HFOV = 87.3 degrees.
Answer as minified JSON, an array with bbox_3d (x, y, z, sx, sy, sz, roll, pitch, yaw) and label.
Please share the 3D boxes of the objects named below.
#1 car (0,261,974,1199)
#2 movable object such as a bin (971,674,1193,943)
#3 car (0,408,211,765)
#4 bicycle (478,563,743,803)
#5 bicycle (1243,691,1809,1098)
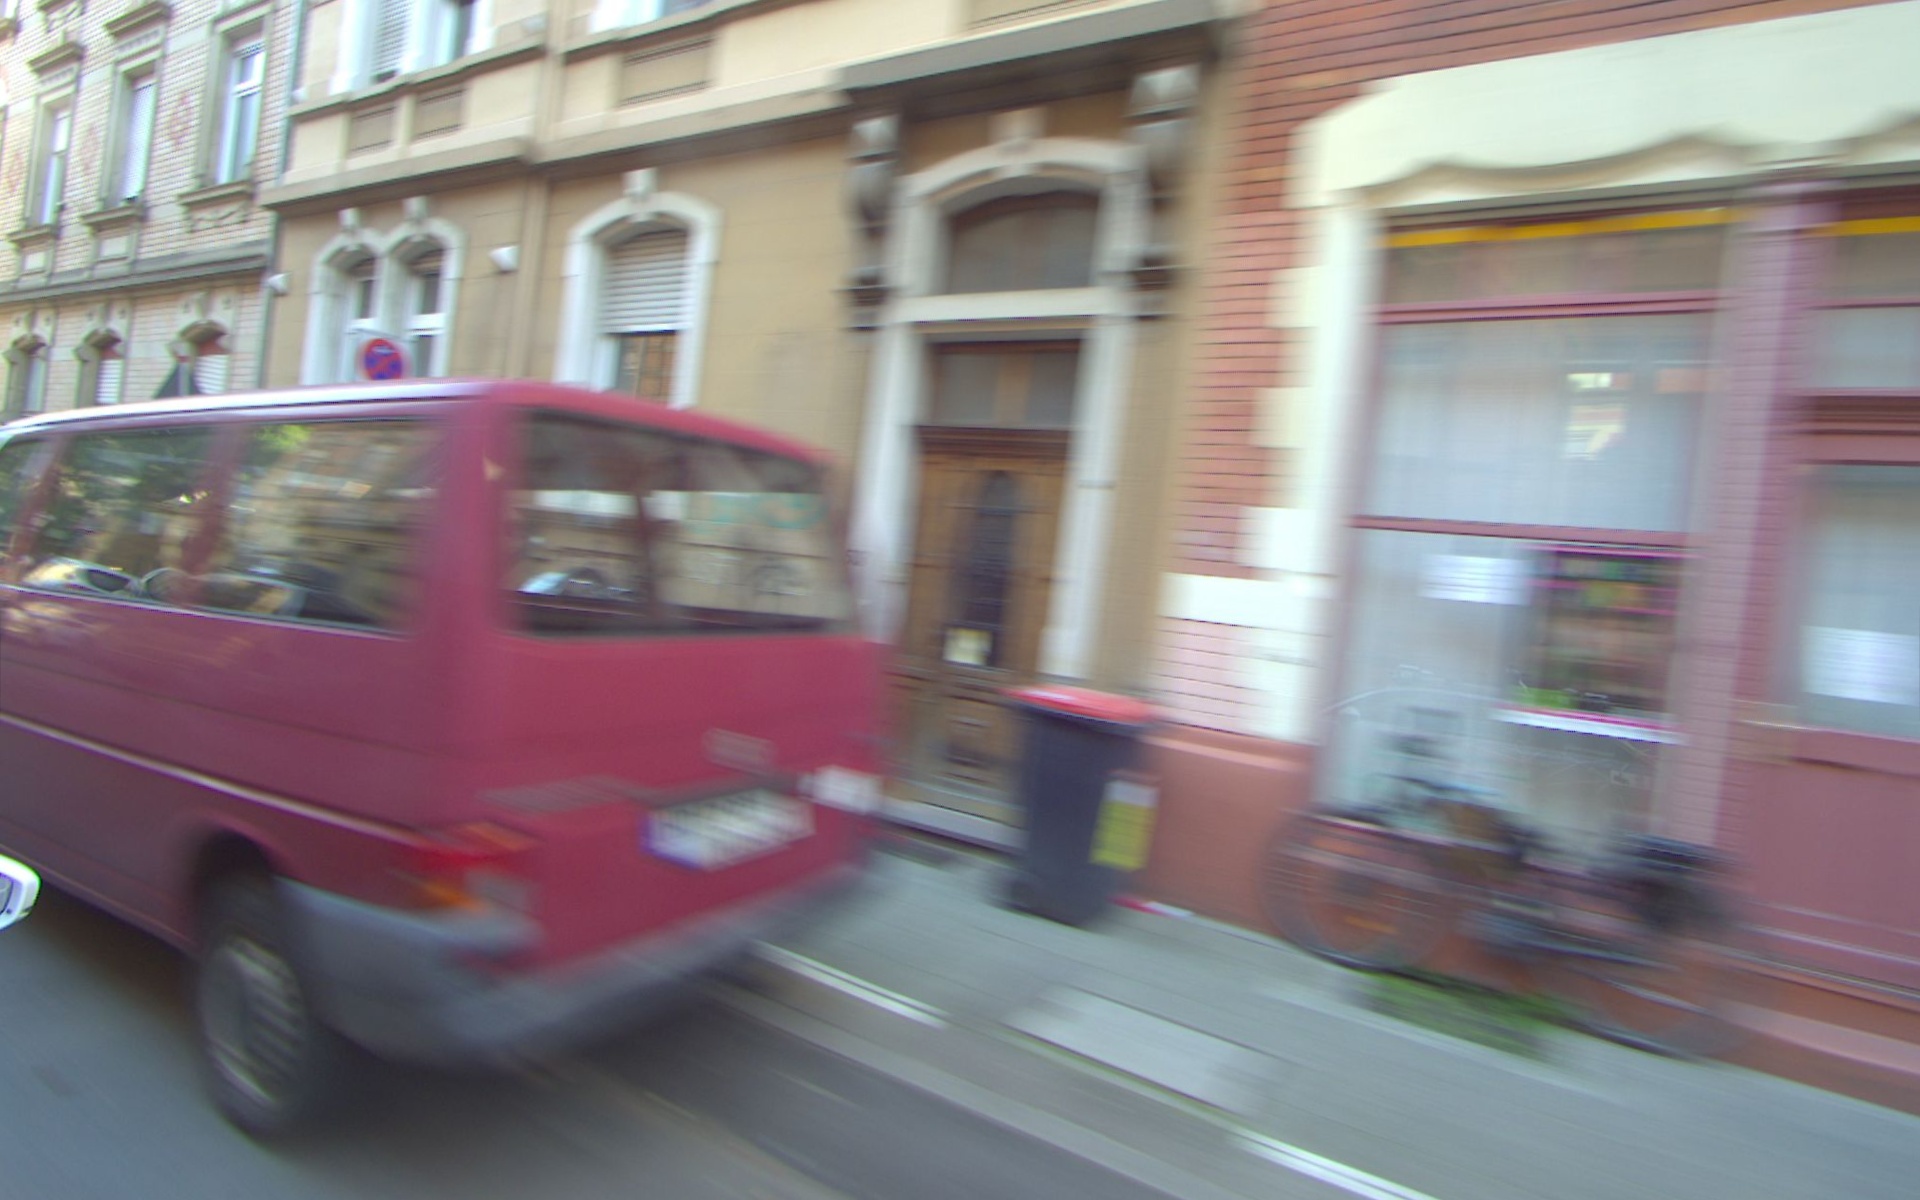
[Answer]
[{"bbox_3d":[-2.520,0.202,3.967,4.662,2.036,1.836,7,-2,31],"label":"car"},{"bbox_3d":[0.628,0.965,5.009,0.710,1.076,0.896,7,3,29],"label":"movable object such as a bin"},{"bbox_3d":[-7.118,-0.277,6.723,4.193,1.983,1.773,7,-2,31],"label":"car"},{"bbox_3d":[-2.391,0.502,6.823,1.664,1.321,0.727,7,3,32],"label":"bicycle"},{"bbox_3d":[2.312,1.124,4.356,1.866,1.137,0.701,8,4,31],"label":"bicycle"}]
